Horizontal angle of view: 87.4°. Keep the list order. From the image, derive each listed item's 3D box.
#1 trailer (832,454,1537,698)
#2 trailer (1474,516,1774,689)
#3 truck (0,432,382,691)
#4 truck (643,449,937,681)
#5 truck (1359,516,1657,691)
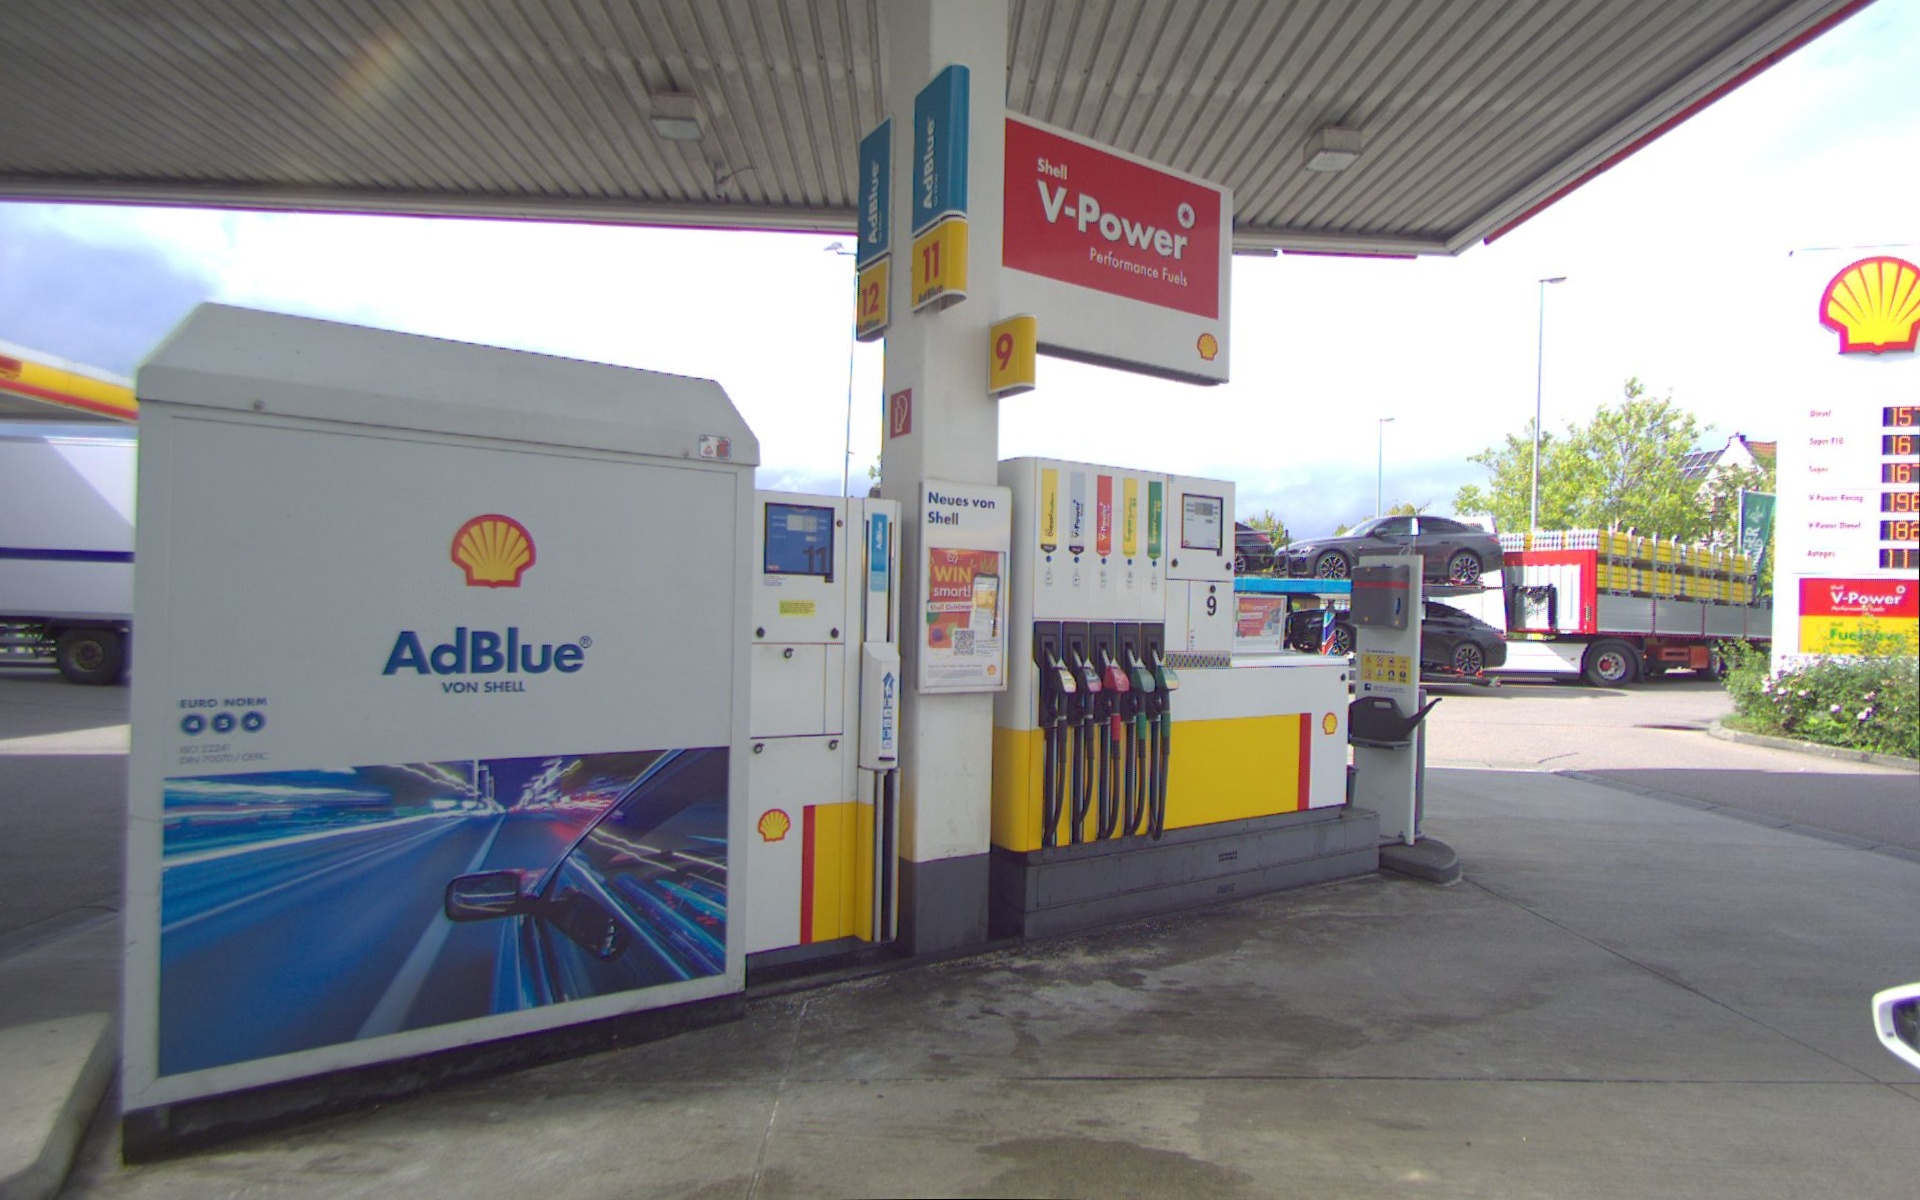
[{"bbox_3d":[4.527,-0.463,21.586,14.077,4.481,2.746,2,0,0],"label":"trailer"},{"bbox_3d":[18.322,0.207,27.101,12.596,3.826,2.710,2,0,-37],"label":"trailer"},{"bbox_3d":[-17.300,-0.731,17.502,12.654,4.092,2.534,2,0,-3],"label":"truck"},{"bbox_3d":[-3.448,-0.698,21.547,5.713,4.479,2.750,2,0,0],"label":"truck"},{"bbox_3d":[13.190,0.038,24.715,5.798,3.897,2.743,2,0,12],"label":"truck"}]
